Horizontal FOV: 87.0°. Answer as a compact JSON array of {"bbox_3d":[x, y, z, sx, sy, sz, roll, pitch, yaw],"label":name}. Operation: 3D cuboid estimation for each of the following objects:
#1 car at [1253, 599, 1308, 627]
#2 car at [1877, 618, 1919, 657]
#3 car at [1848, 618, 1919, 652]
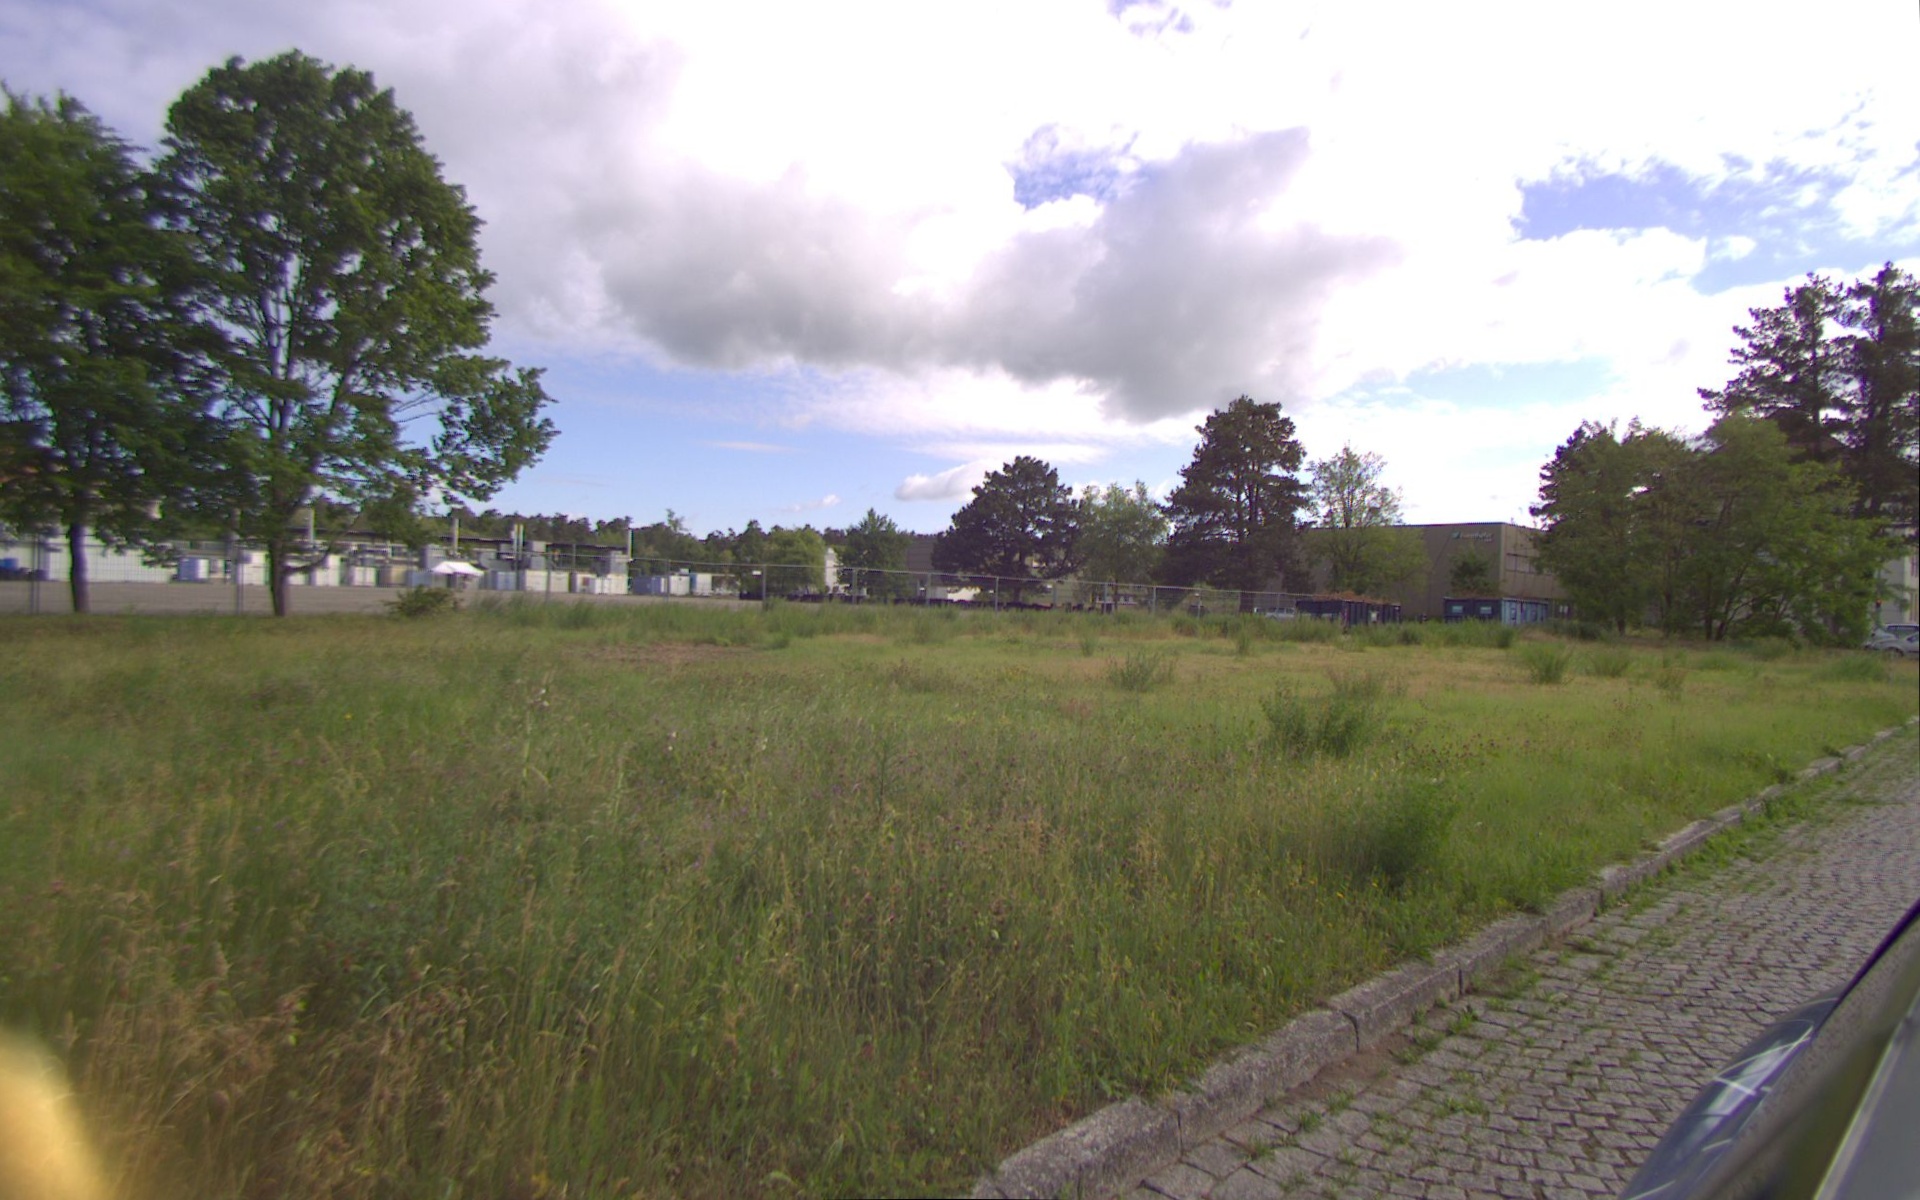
[{"bbox_3d":[25.150,1.044,79.482,3.708,1.928,1.995,3,-1,8],"label":"car"},{"bbox_3d":[37.907,1.449,38.990,1.600,1.456,3.721,1,-1,-45],"label":"car"},{"bbox_3d":[40.826,1.498,43.677,3.716,1.456,1.602,-1,-1,41],"label":"car"}]
